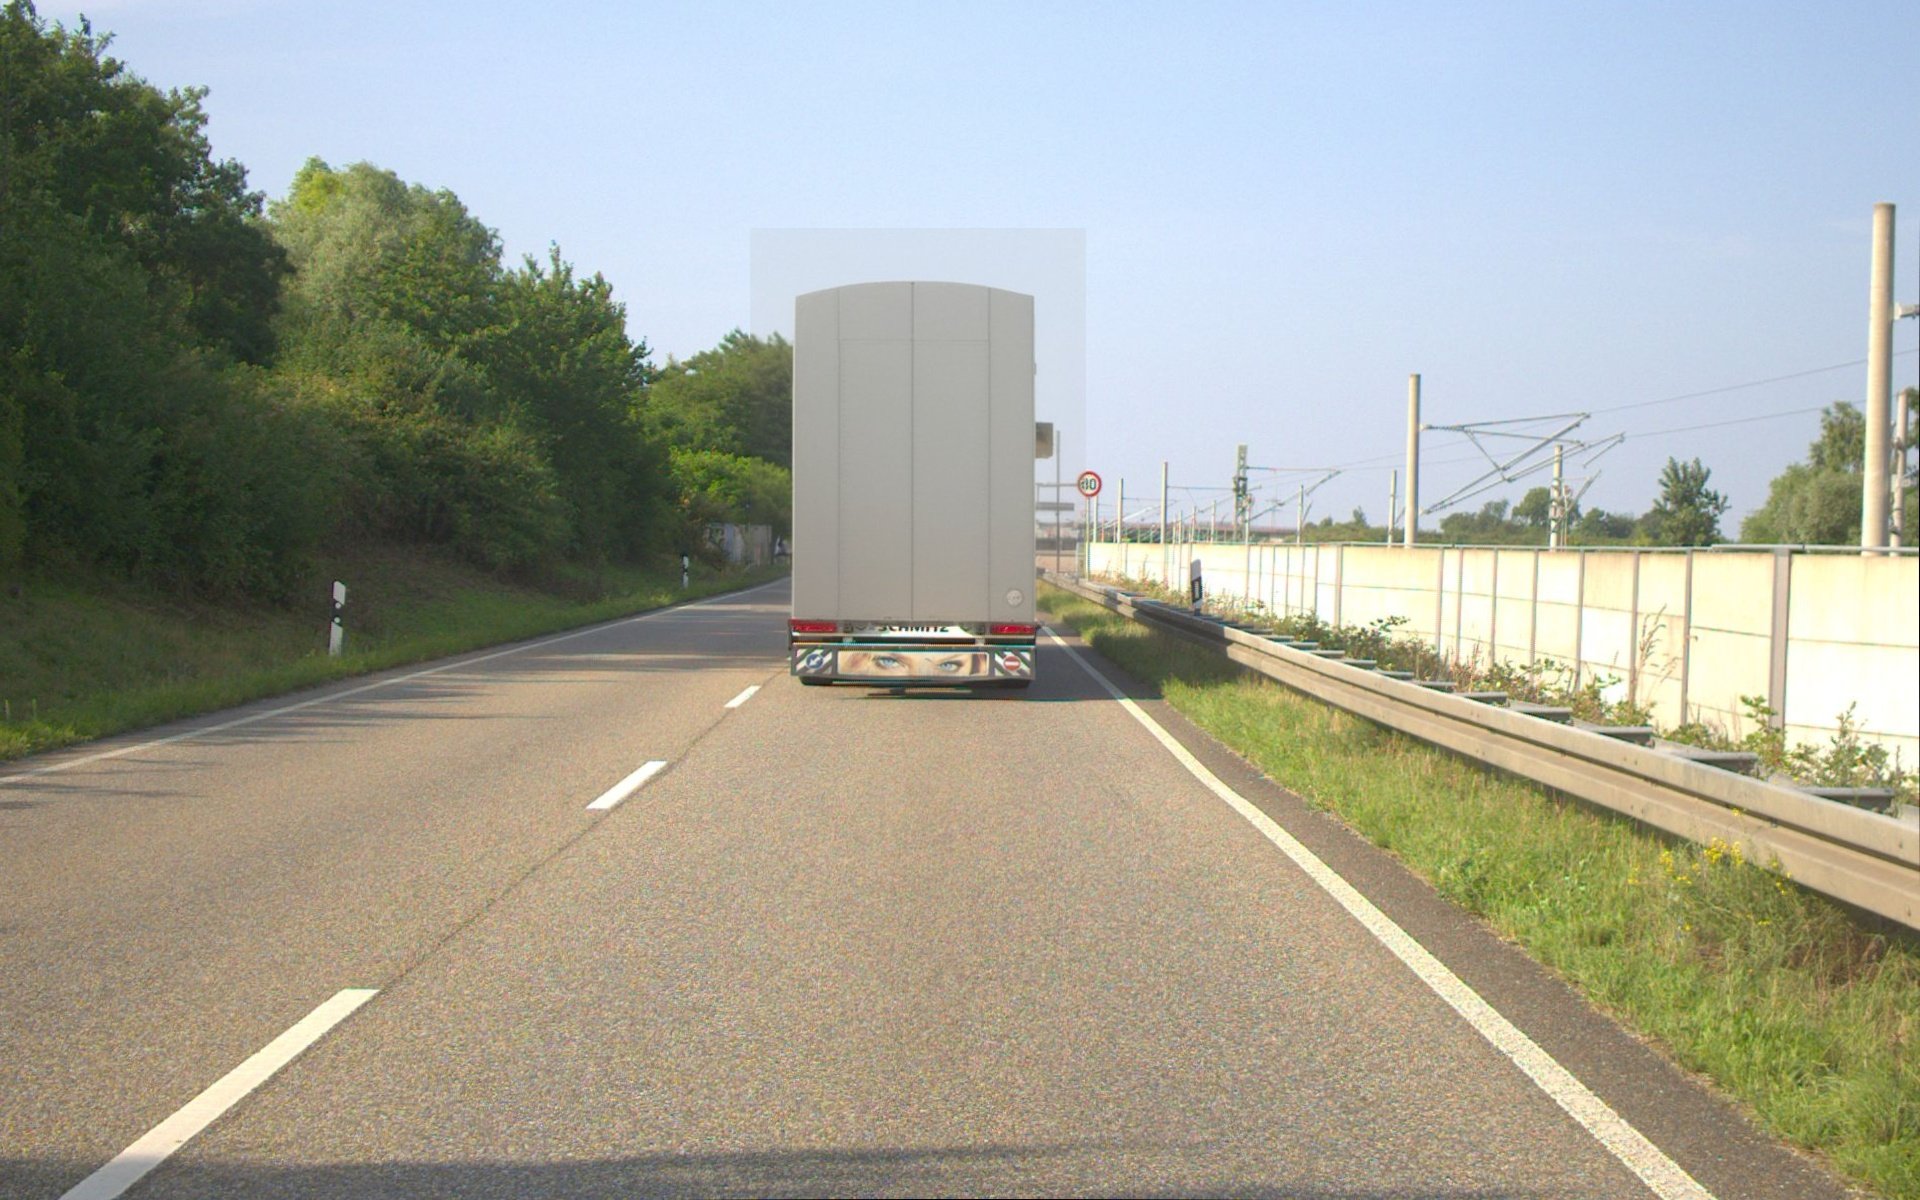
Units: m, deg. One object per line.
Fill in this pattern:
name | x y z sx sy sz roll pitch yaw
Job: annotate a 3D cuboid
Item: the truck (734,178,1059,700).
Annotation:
truck | -0.736 -1.659 38.409 3.033 4.903 11.685 1 1 -1
